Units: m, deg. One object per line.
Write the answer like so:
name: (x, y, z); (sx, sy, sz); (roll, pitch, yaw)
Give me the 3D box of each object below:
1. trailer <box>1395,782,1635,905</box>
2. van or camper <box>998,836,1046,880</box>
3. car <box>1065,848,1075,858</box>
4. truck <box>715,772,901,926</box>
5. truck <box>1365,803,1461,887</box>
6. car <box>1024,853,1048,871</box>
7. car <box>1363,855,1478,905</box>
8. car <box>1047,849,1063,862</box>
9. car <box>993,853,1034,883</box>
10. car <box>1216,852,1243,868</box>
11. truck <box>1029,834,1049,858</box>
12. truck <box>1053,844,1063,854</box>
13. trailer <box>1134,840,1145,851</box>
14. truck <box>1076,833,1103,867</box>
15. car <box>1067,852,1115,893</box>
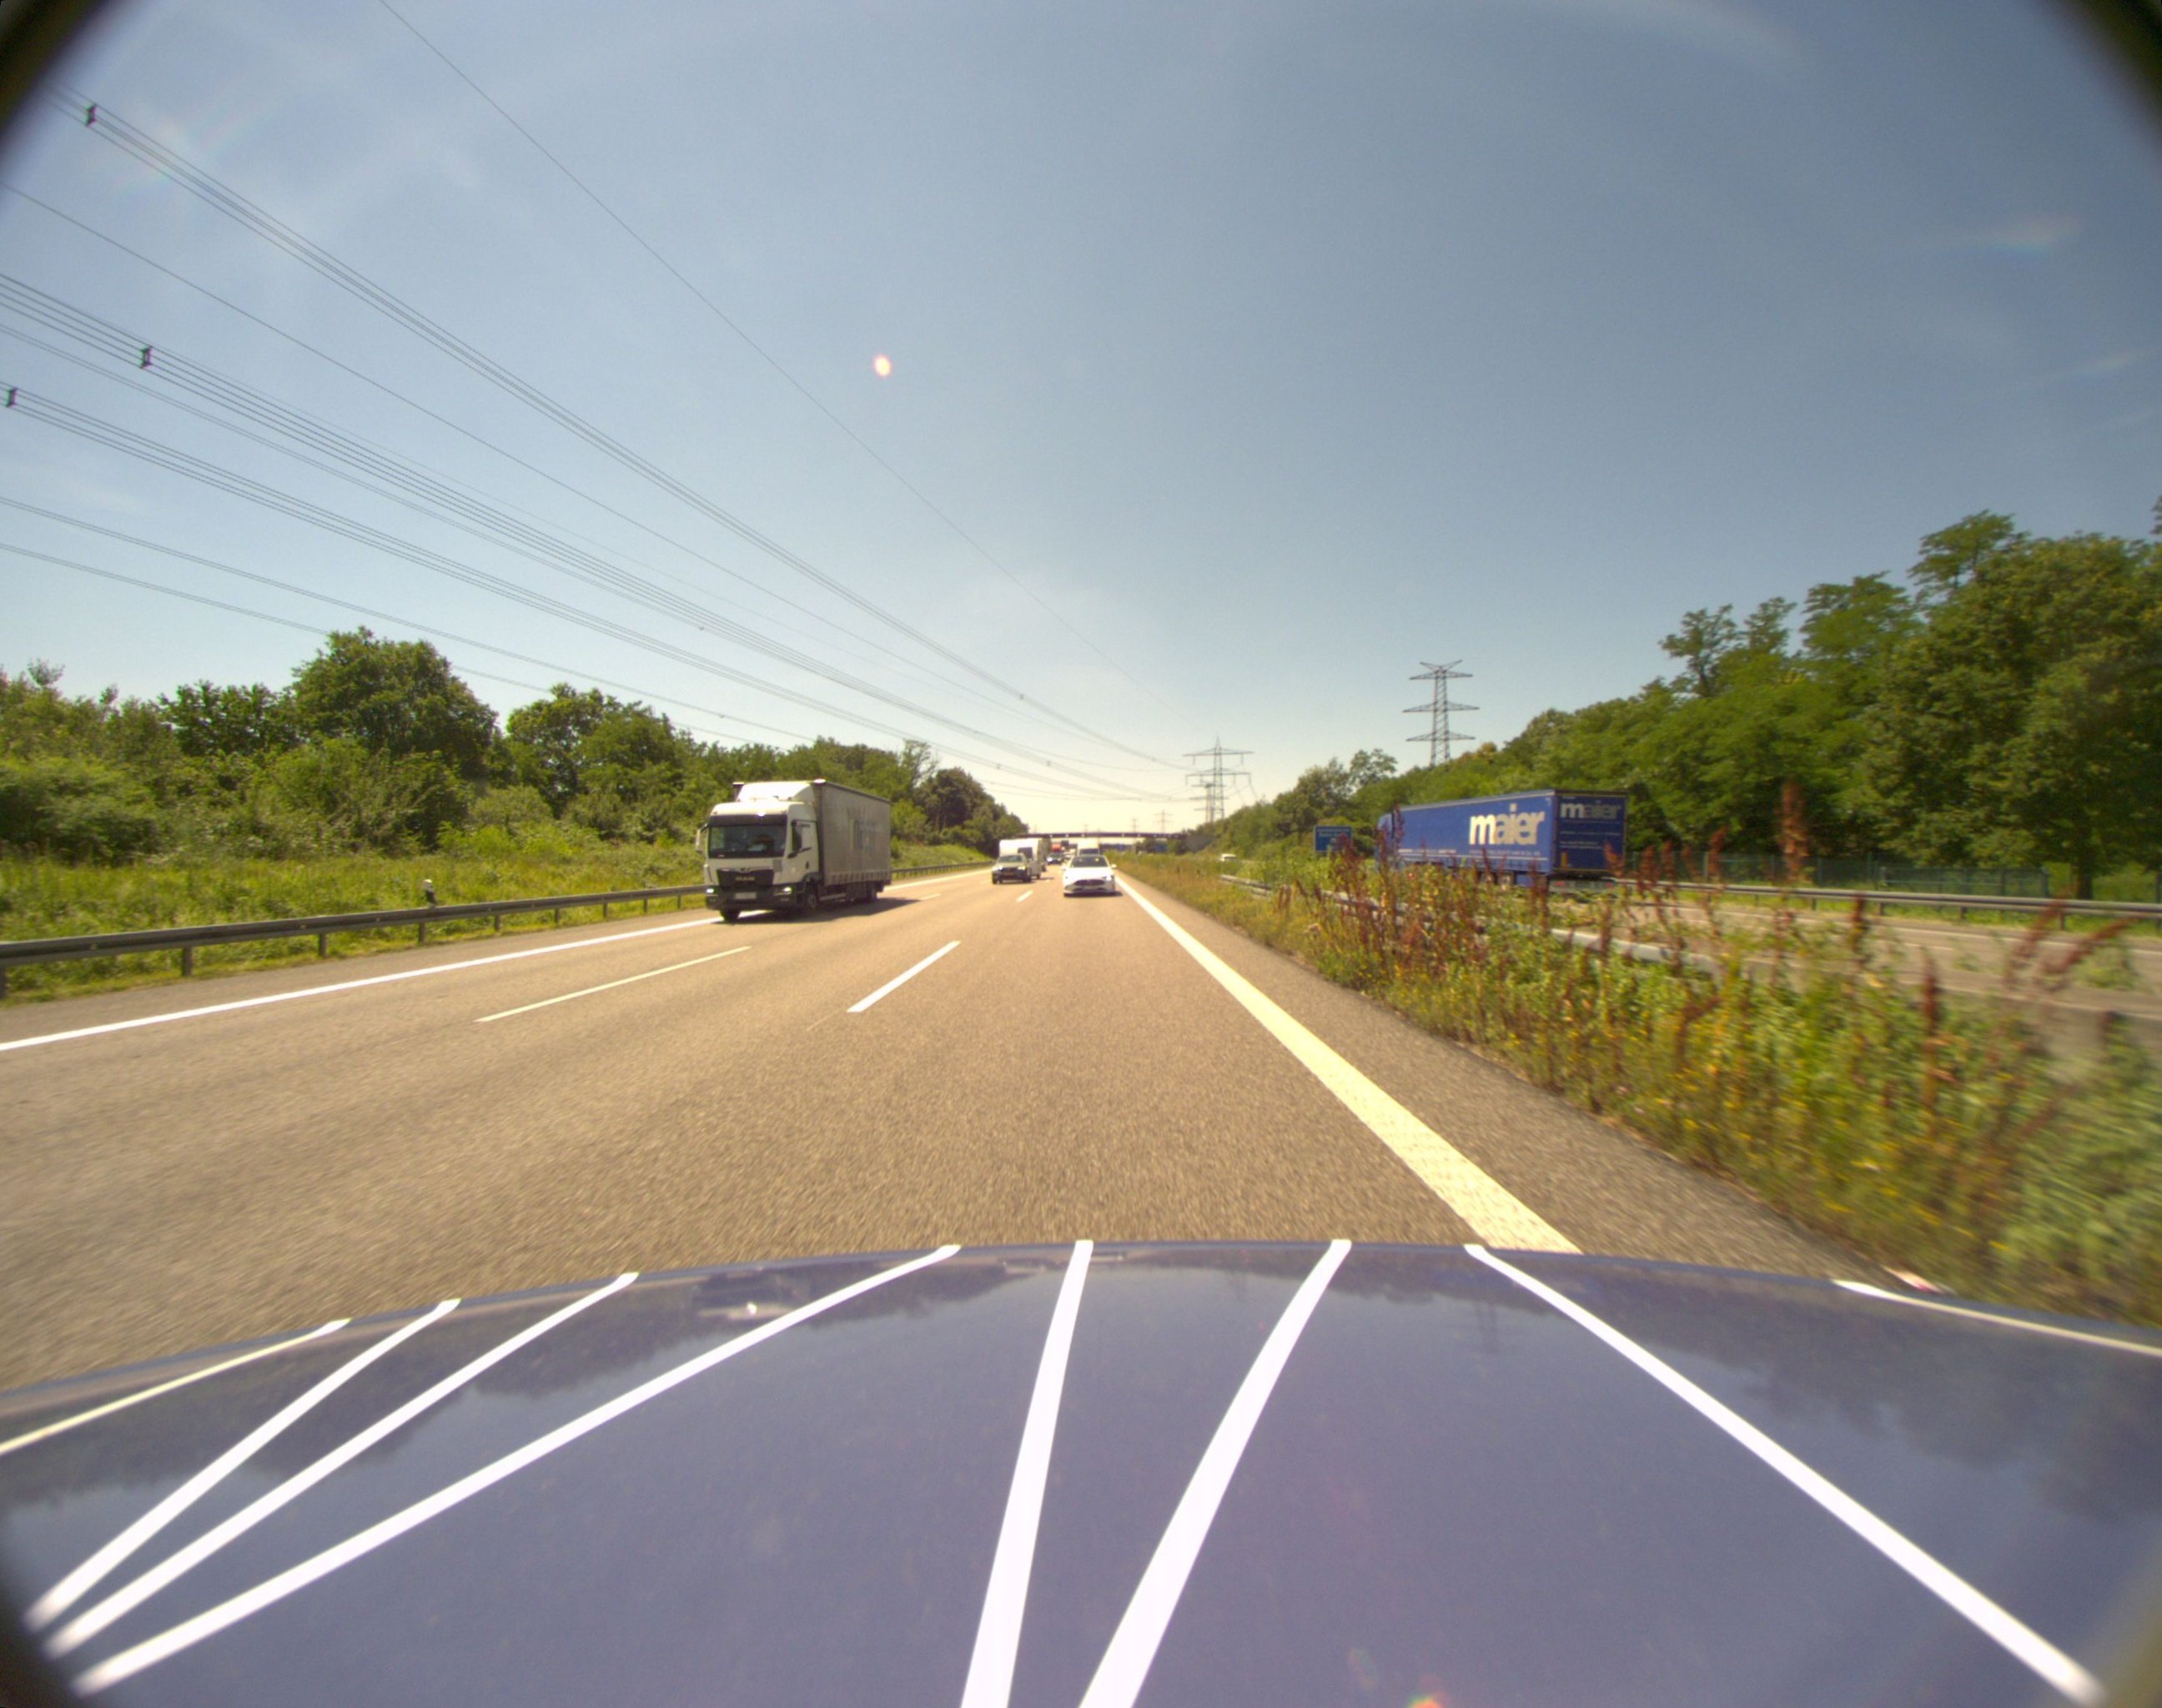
trailer: (17.554, -0.406, 32.595); (2.478, 4.107, 13.465); (2, 0, 0)
van or camper: (-3.553, 0.203, 47.102); (2.411, 2.483, 6.431); (-1, 0, 1)
car: (-2.376, -0.268, 163.449); (1.998, 2.002, 4.000); (0, 0, 1)
truck: (-7.928, -0.150, 23.798); (1.987, 3.750, 10.042); (-2, 0, 1)
truck: (17.577, -0.463, 40.628); (2.473, 4.110, 5.683); (2, 1, 0)
car: (-3.768, 0.648, 64.113); (1.803, 1.533, 3.806); (0, 0, 1)
car: (11.058, 0.780, 25.128); (1.757, 1.430, 4.543); (2, 0, 1)
car: (-3.400, 0.130, 101.272); (1.904, 1.662, 4.000); (-2, 0, 1)
car: (-3.659, 0.723, 41.822); (1.788, 1.520, 4.104); (-1, 0, 1)
car: (13.960, 0.584, 71.792); (1.811, 1.440, 4.000); (0, 0, 1)
truck: (-6.843, -1.259, 123.323); (2.584, 3.704, 8.279); (-2, 1, 1)
truck: (-6.662, -1.519, 220.127); (2.619, 2.801, 6.593); (0, 0, 1)
trailer: (19.426, -2.794, 252.383); (2.881, 3.667, 12.716); (1, 1, 1)
truck: (0.773, -0.396, 68.588); (2.192, 2.841, 5.503); (-2, 0, 1)
car: (0.401, 0.714, 30.896); (1.788, 1.462, 3.999); (-2, 1, 1)
